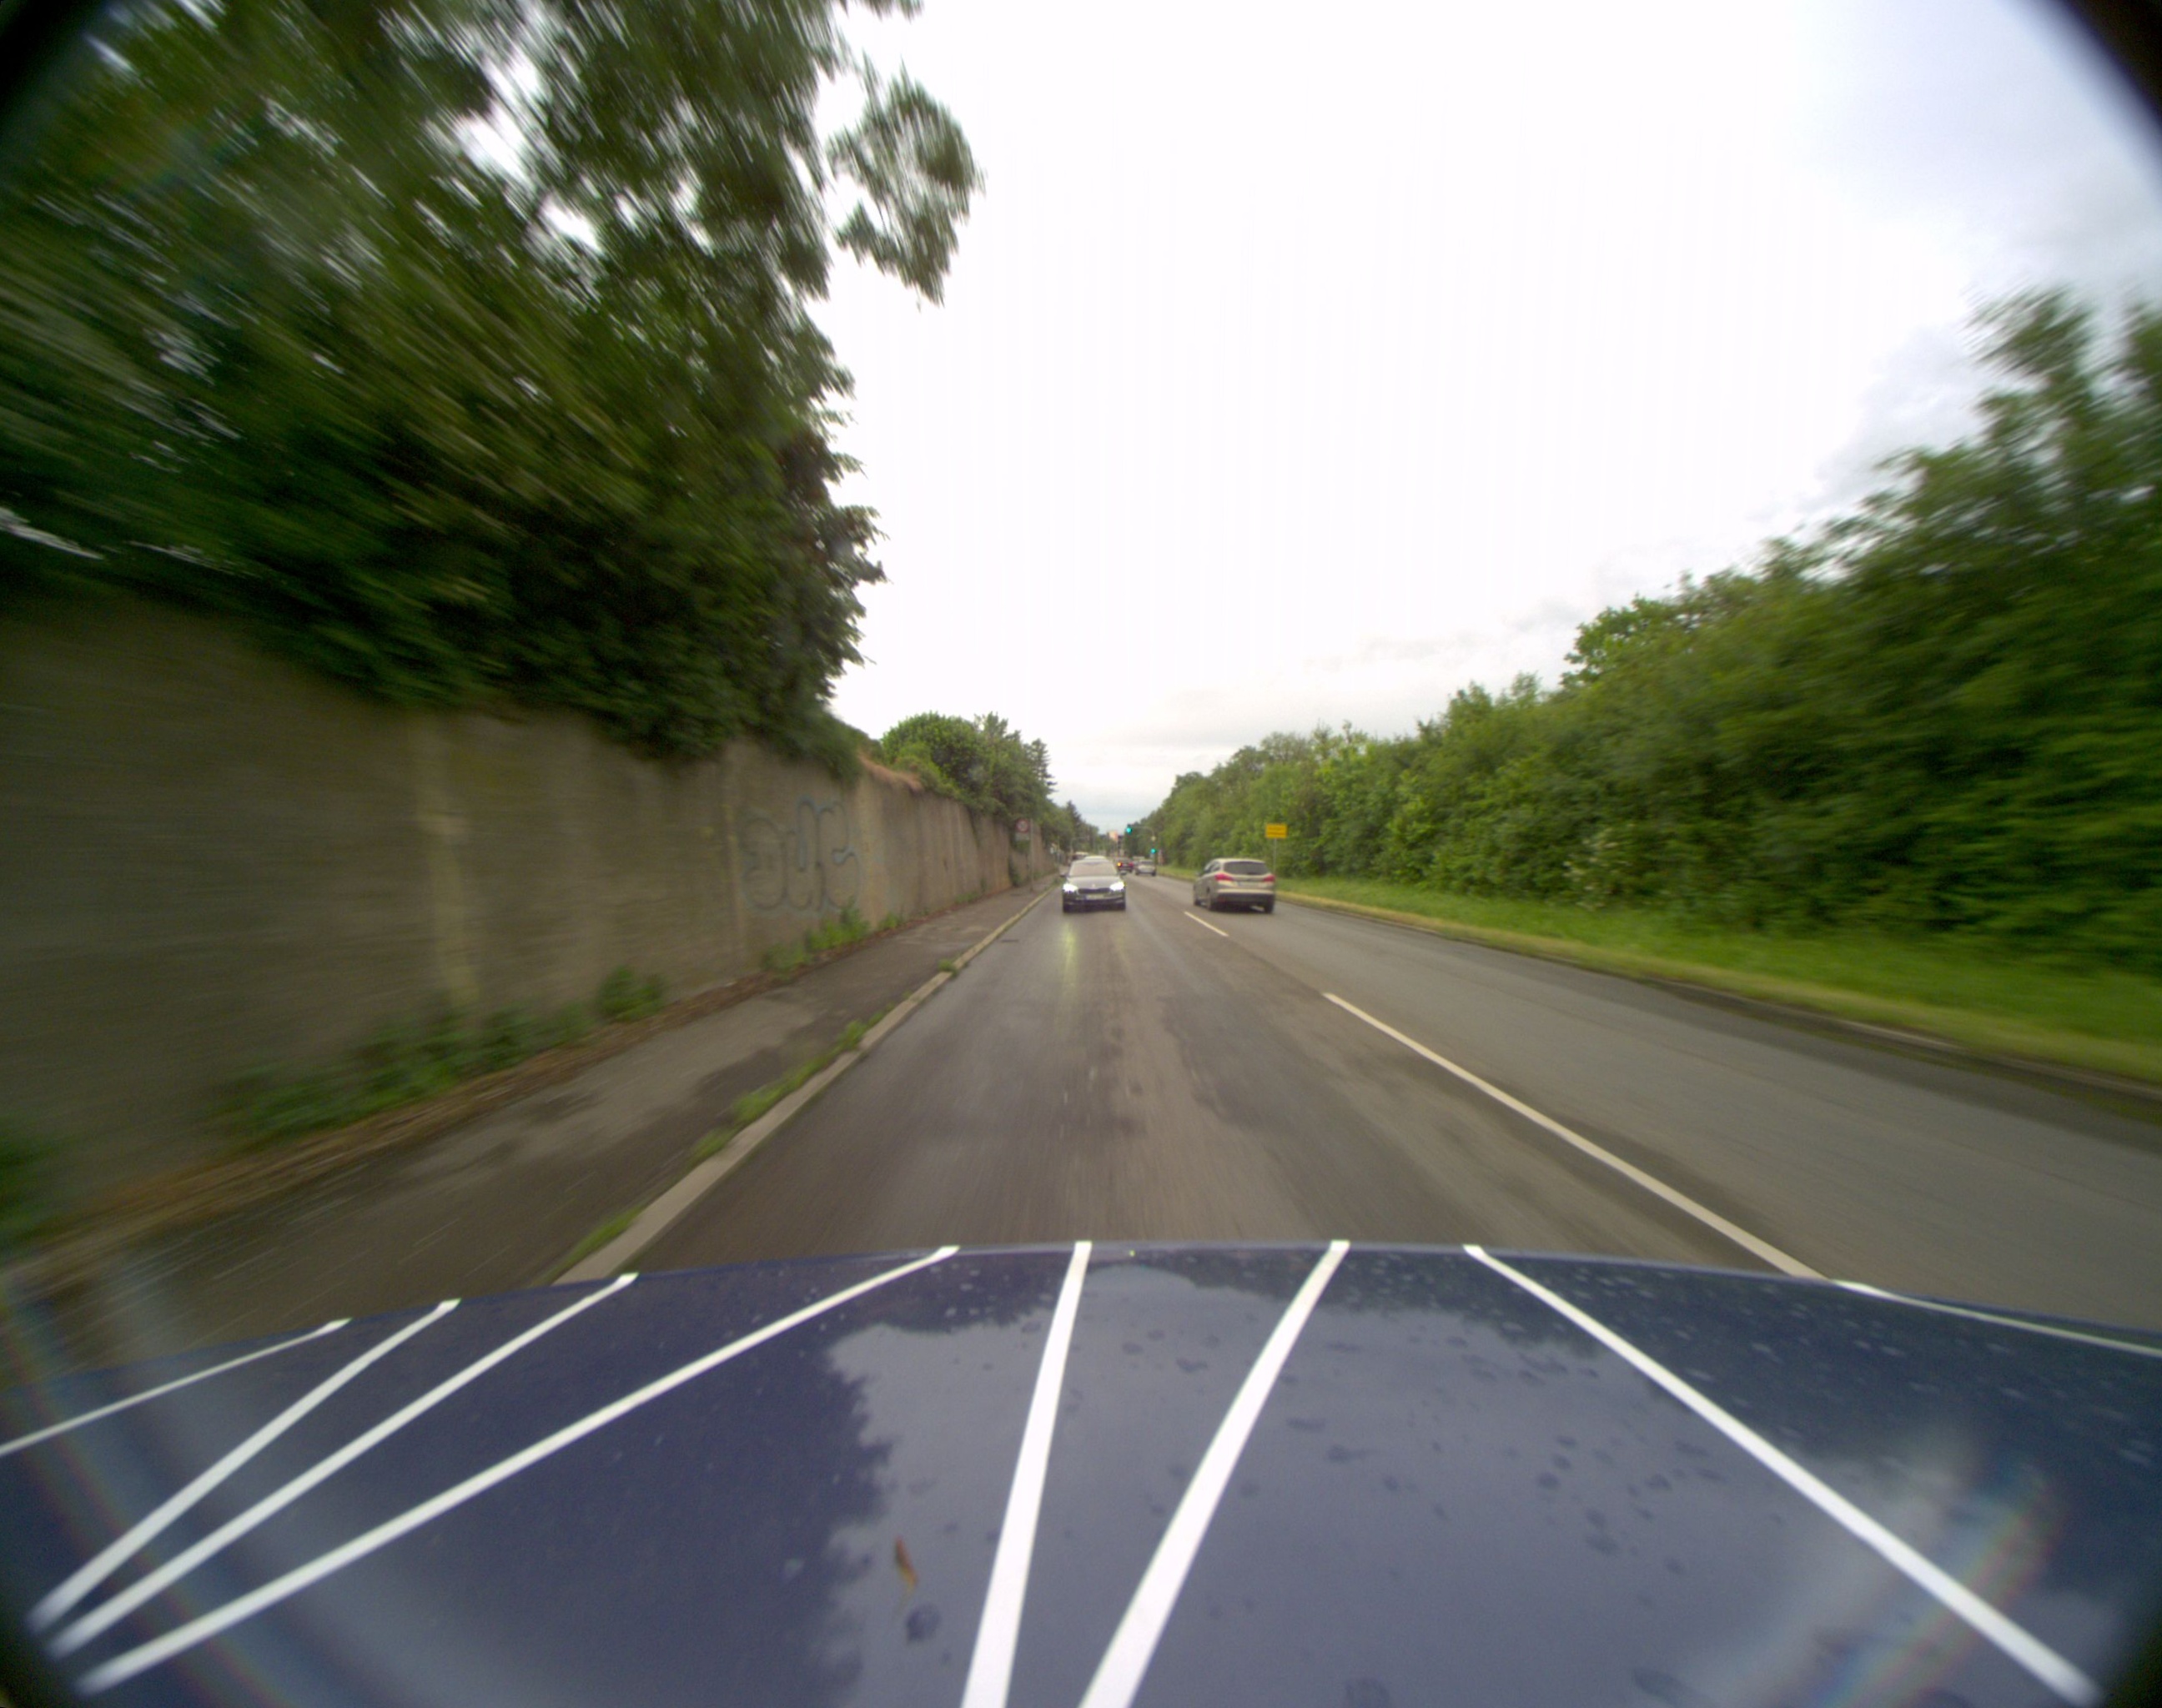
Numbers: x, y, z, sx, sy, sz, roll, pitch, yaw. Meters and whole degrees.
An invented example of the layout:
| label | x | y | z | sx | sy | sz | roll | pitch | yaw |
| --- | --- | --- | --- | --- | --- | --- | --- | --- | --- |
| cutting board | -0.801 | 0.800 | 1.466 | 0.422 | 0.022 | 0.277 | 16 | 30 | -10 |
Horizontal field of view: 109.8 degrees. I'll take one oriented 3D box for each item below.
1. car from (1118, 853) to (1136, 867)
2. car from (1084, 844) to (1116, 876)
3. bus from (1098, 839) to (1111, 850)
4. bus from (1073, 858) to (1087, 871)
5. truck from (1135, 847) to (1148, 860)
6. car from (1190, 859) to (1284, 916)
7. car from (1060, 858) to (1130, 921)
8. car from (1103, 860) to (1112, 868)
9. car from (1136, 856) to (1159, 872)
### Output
| label | x | y | z | sx | sy | sz | roll | pitch | yaw |
| --- | --- | --- | --- | --- | --- | --- | --- | --- | --- |
| car | 5.322 | 0.711 | 87.782 | 1.737 | 1.584 | 4.281 | 1 | 0 | -1 |
| car | 1.023 | 0.292 | 43.610 | 1.704 | 1.724 | 3.999 | -1 | 1 | 0 |
| bus | 7.214 | -2.915 | 235.507 | 3.175 | 3.241 | 8.215 | 1 | 0 | 7 |
| bus | -0.157 | 1.620 | 117.032 | 1.998 | 1.812 | 4.486 | 1 | 0 | 0 |
| truck | 11.600 | -0.052 | 145.161 | 2.479 | 2.494 | 5.639 | 1 | 0 | 5 |
| car | 4.318 | 0.877 | 21.687 | 1.830 | 1.411 | 4.320 | 1 | 0 | 1 |
| car | 0.373 | 0.891 | 21.058 | 1.675 | 1.477 | 4.215 | -3 | 0 | 1 |
| car | 6.289 | 2.393 | 179.679 | 1.998 | 1.812 | 4.488 | 1 | 0 | 5 |
| car | 6.053 | 0.887 | 69.441 | 1.806 | 1.423 | 4.179 | 1 | 0 | 1 |
